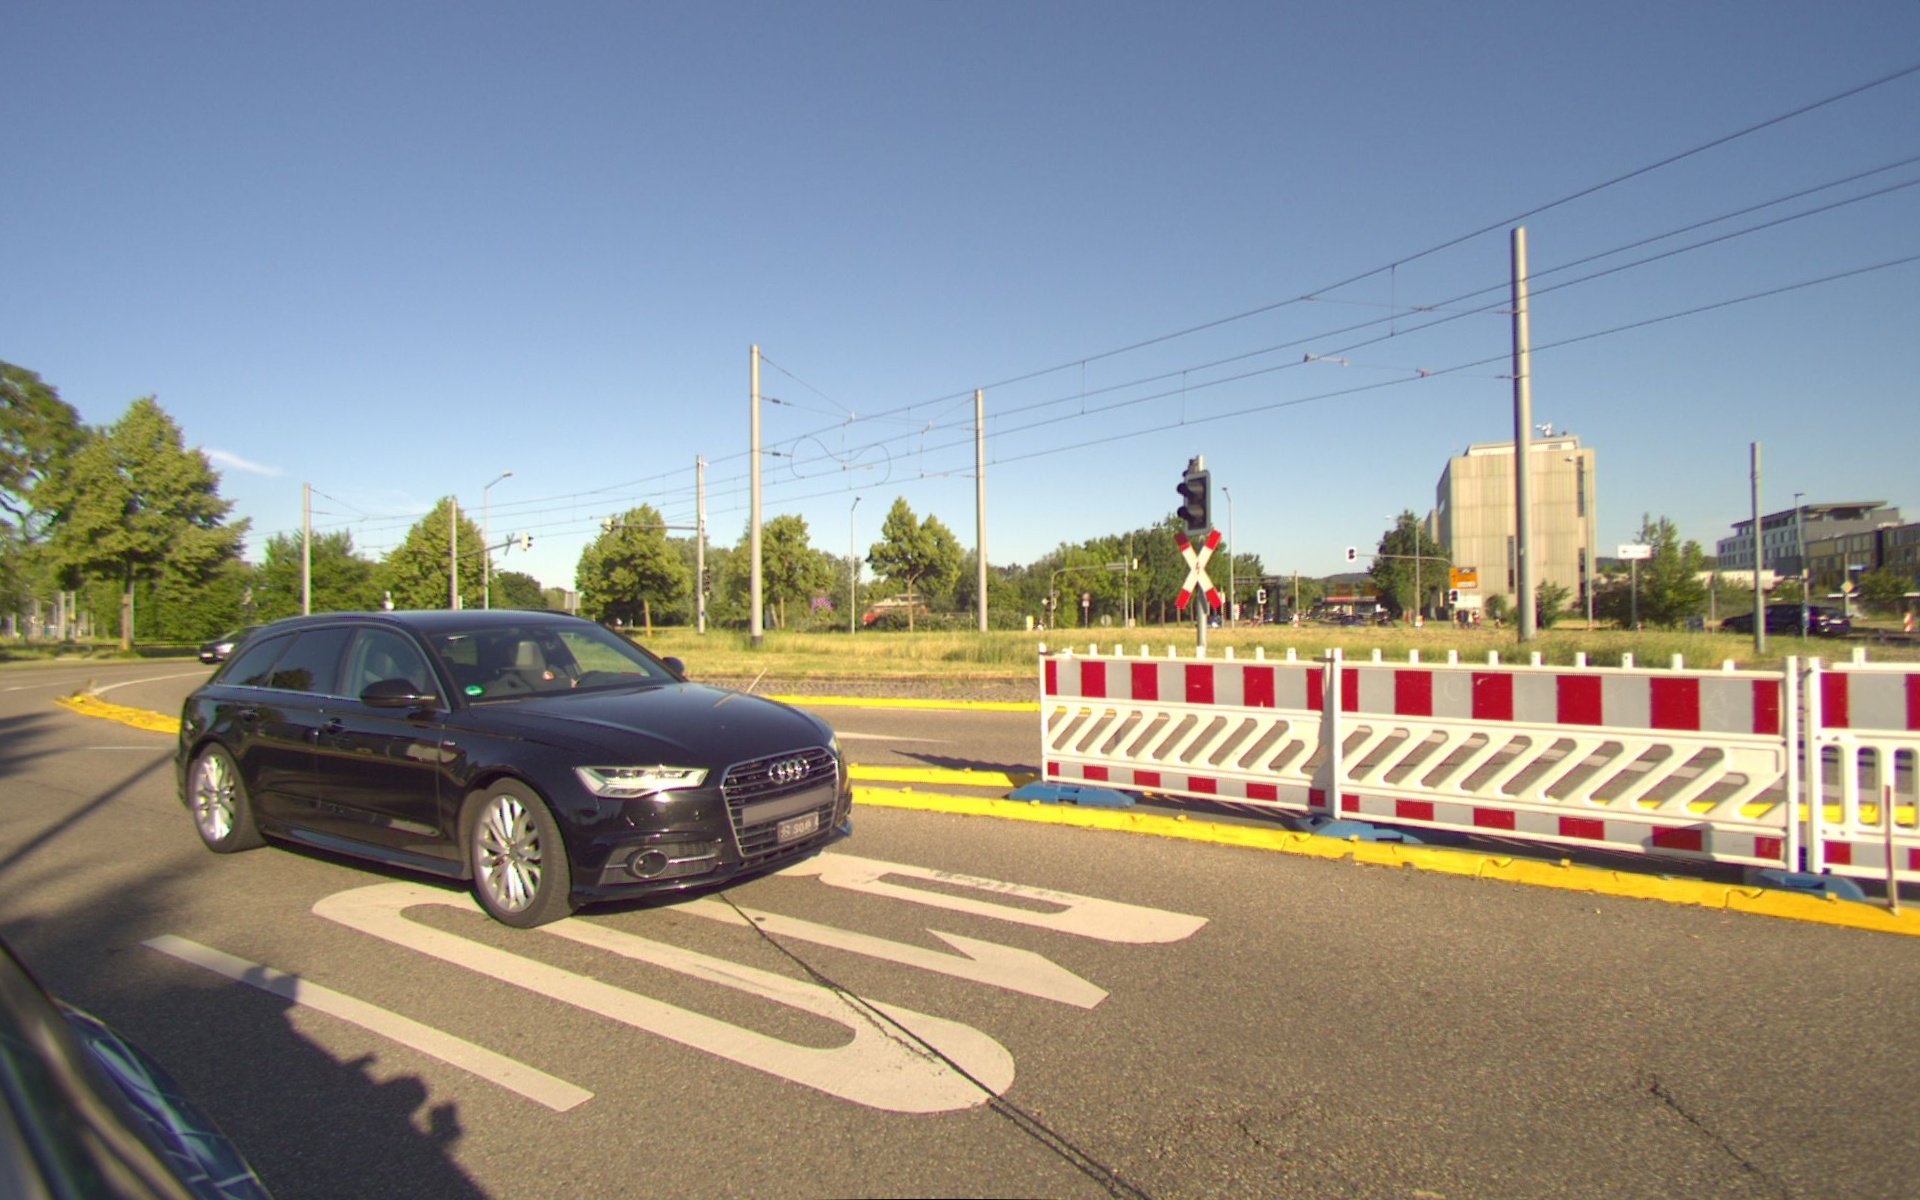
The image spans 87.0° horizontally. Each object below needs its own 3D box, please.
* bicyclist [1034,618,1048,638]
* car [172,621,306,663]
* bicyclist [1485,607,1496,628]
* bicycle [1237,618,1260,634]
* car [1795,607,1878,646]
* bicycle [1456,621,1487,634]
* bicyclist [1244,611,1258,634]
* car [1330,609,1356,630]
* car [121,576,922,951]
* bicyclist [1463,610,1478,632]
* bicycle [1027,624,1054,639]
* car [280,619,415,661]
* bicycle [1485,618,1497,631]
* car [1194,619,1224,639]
[{"bbox_3d":[6.553,2.246,82.251,1.072,1.573,0.876,0,0,1],"label":"bicyclist"},{"bbox_3d":[-27.976,1.589,39.415,1.710,1.390,4.047,-3,-1,16],"label":"car"},{"bbox_3d":[41.480,1.367,79.064,0.660,1.592,0.826,-2,-2,32],"label":"bicyclist"},{"bbox_3d":[22.233,2.010,78.012,1.639,1.137,0.701,-2,-1,14],"label":"bicycle"},{"bbox_3d":[36.293,1.064,42.015,1.730,1.498,4.444,-2,-1,30],"label":"car"},{"bbox_3d":[36.292,1.957,71.790,1.881,0.859,0.611,-2,-2,30],"label":"bicycle"},{"bbox_3d":[22.419,1.732,77.977,0.934,1.676,0.701,-2,-1,14],"label":"bicyclist"},{"bbox_3d":[34.906,1.797,92.315,1.758,1.798,3.899,-2,-1,14],"label":"car"},{"bbox_3d":[-2.805,0.661,5.988,4.998,1.454,1.779,-1,0,31],"label":"car"},{"bbox_3d":[36.237,1.491,71.827,0.921,1.528,0.611,-2,-2,30],"label":"bicyclist"},{"bbox_3d":[6.533,2.578,82.244,2.186,1.164,0.876,0,0,1],"label":"bicycle"},{"bbox_3d":[-23.523,1.513,39.070,1.917,1.390,4.521,-3,-1,11],"label":"car"},{"bbox_3d":[41.509,1.919,79.073,0.660,0.995,2.238,-2,-2,32],"label":"bicycle"},{"bbox_3d":[22.146,2.549,89.840,1.945,1.627,3.887,-2,-2,23],"label":"car"}]
